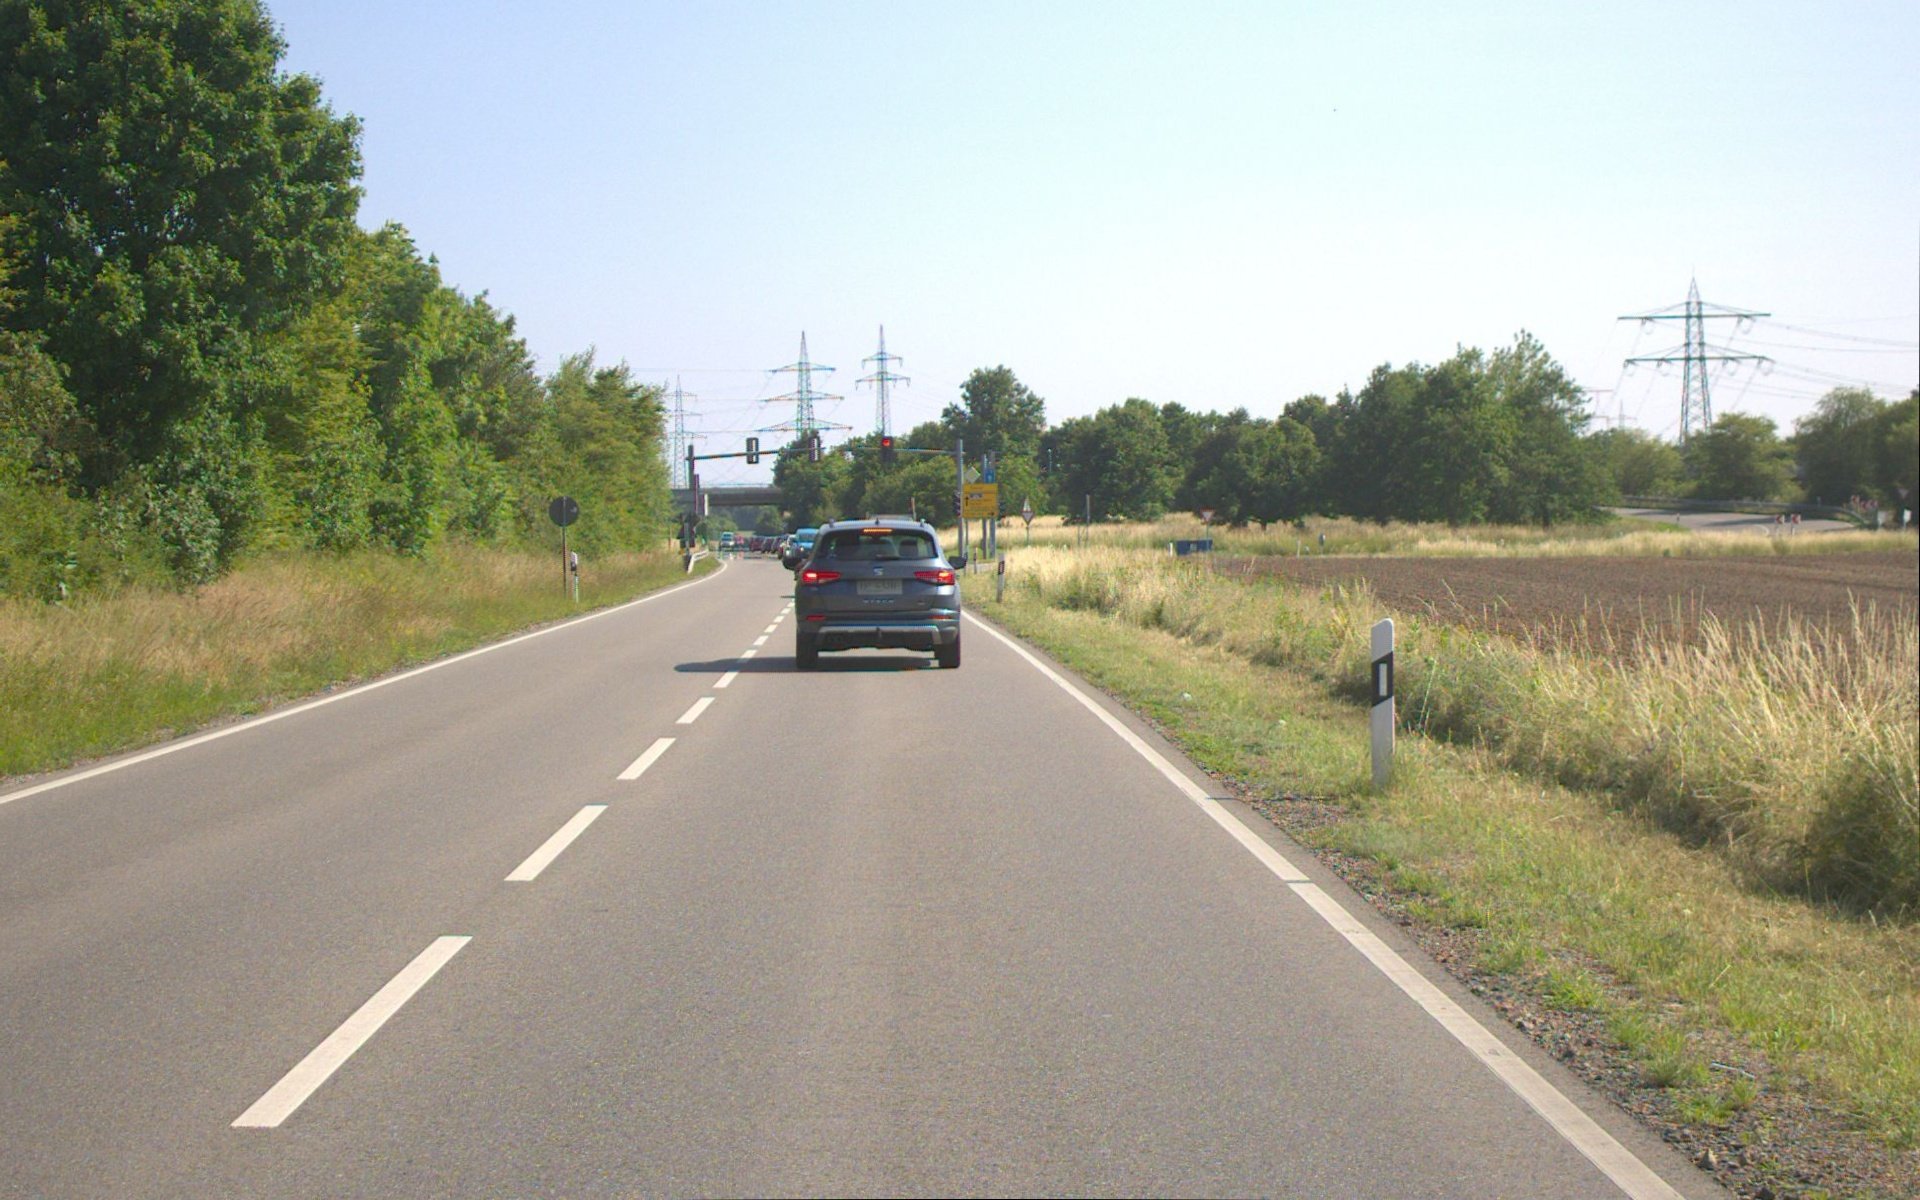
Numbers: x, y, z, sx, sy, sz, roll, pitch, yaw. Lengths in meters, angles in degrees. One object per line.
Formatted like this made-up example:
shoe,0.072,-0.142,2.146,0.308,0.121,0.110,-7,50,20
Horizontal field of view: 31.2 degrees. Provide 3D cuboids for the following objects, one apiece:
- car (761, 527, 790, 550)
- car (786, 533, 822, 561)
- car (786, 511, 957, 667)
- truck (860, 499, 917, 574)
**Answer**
car,-11.435,-3.810,213.312,1.684,1.375,3.534,0,2,-5
car,-8.824,-2.980,193.770,1.816,1.535,4.001,-1,1,-5
car,-0.993,-0.166,38.146,1.785,1.623,4.001,-1,1,-2
truck,-3.001,-2.650,144.479,2.337,3.055,5.810,0,1,-1
